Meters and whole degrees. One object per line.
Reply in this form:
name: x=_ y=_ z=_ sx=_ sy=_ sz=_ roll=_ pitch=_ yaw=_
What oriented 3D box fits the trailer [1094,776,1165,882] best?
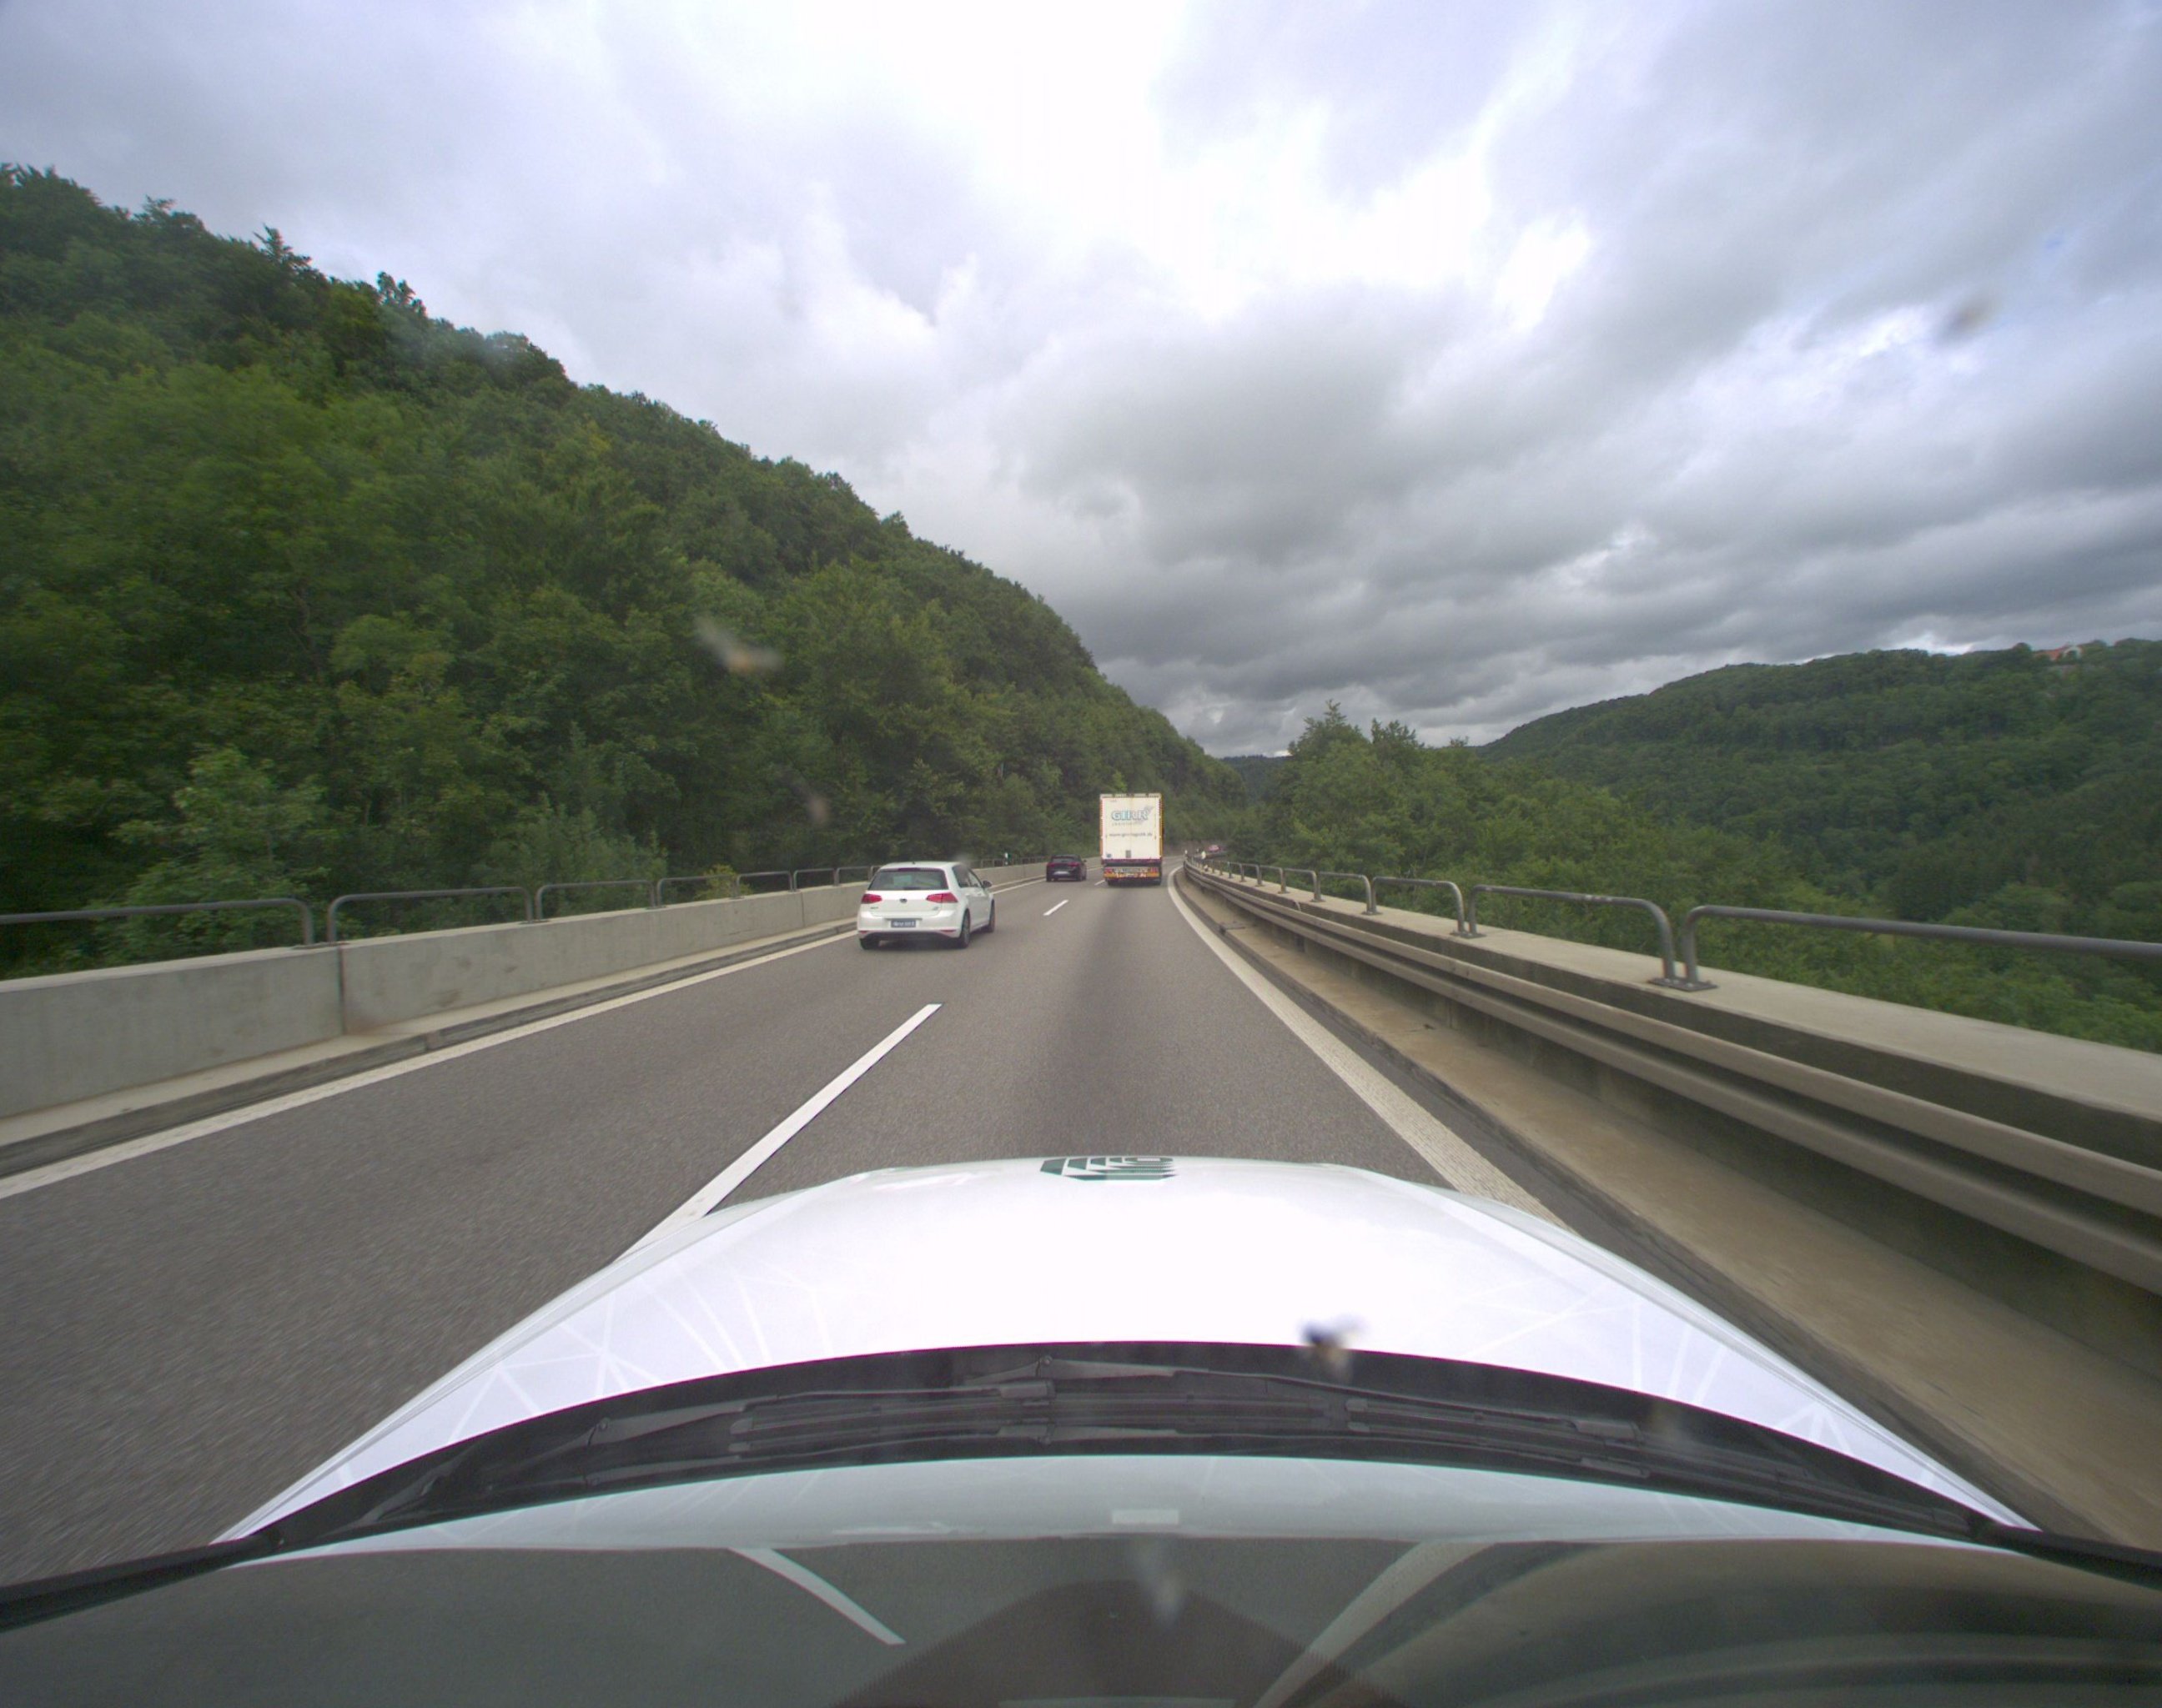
trailer: x=2.638 y=-0.958 z=39.876 sx=2.799 sy=4.302 sz=12.263 roll=-2 pitch=-1 yaw=6

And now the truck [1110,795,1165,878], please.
truck: x=3.314 y=-0.883 z=46.322 sx=2.799 sy=4.302 sz=6.268 roll=-2 pitch=-1 yaw=6

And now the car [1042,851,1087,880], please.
car: x=-0.800 y=0.591 z=43.328 sx=1.764 sy=1.461 sz=4.589 roll=-1 pitch=-1 yaw=6

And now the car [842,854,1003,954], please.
car: x=-2.665 y=0.766 z=14.853 sx=1.838 sy=1.481 sz=4.630 roll=-1 pitch=0 yaw=2

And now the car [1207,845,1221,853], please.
car: x=26.087 y=-0.961 z=159.651 sx=1.978 sy=1.565 sz=4.018 roll=-2 pitch=-1 yaw=17

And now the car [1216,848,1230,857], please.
car: x=25.788 y=-0.261 z=147.546 sx=1.978 sy=1.565 sz=4.016 roll=-2 pitch=-1 yaw=16
